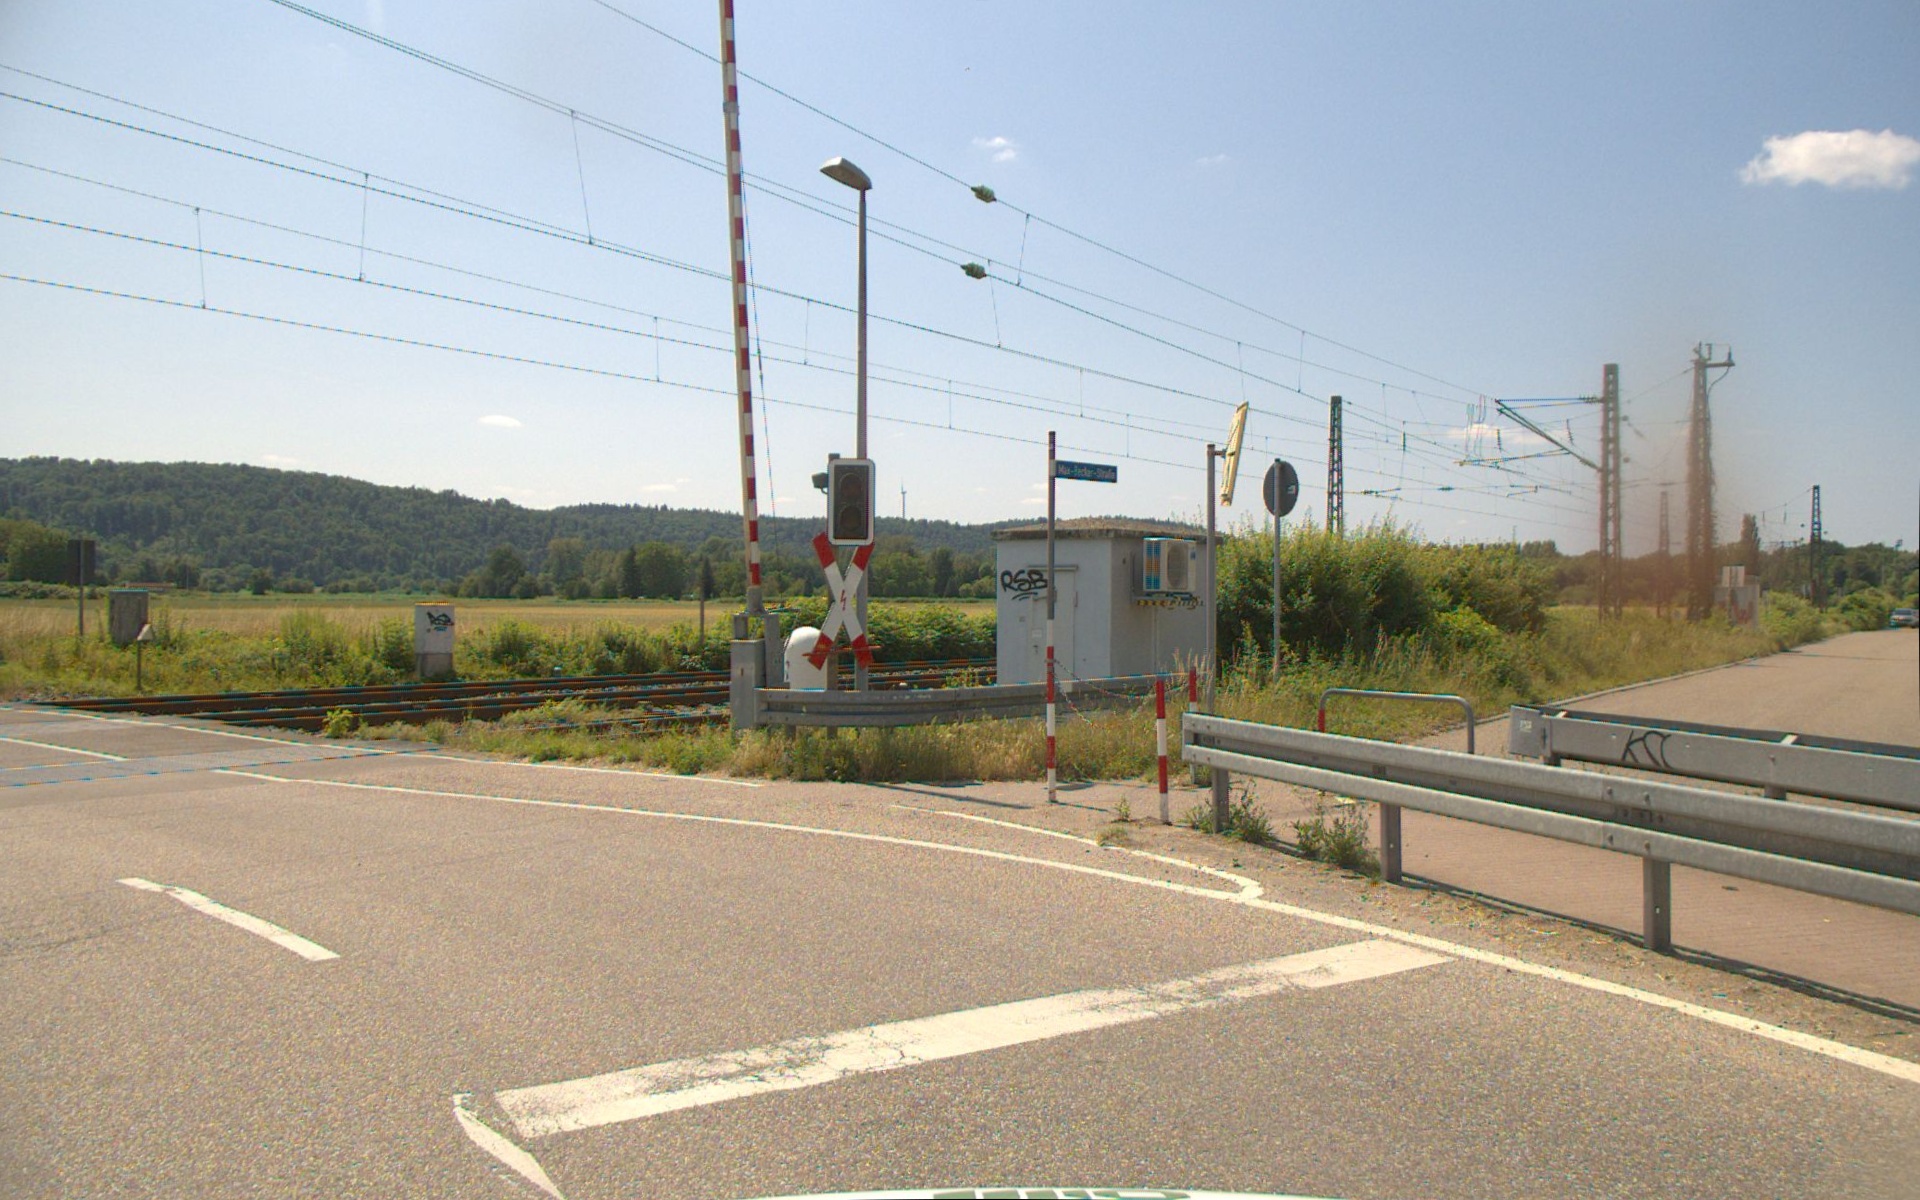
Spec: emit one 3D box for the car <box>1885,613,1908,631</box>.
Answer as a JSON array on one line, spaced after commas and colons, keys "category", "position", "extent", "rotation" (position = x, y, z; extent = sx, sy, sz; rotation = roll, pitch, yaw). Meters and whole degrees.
[{"category": "car", "position": [80.483, 1.875, 142.099], "extent": [1.616, 1.504, 2.895], "rotation": [0, 0, 32]}]
